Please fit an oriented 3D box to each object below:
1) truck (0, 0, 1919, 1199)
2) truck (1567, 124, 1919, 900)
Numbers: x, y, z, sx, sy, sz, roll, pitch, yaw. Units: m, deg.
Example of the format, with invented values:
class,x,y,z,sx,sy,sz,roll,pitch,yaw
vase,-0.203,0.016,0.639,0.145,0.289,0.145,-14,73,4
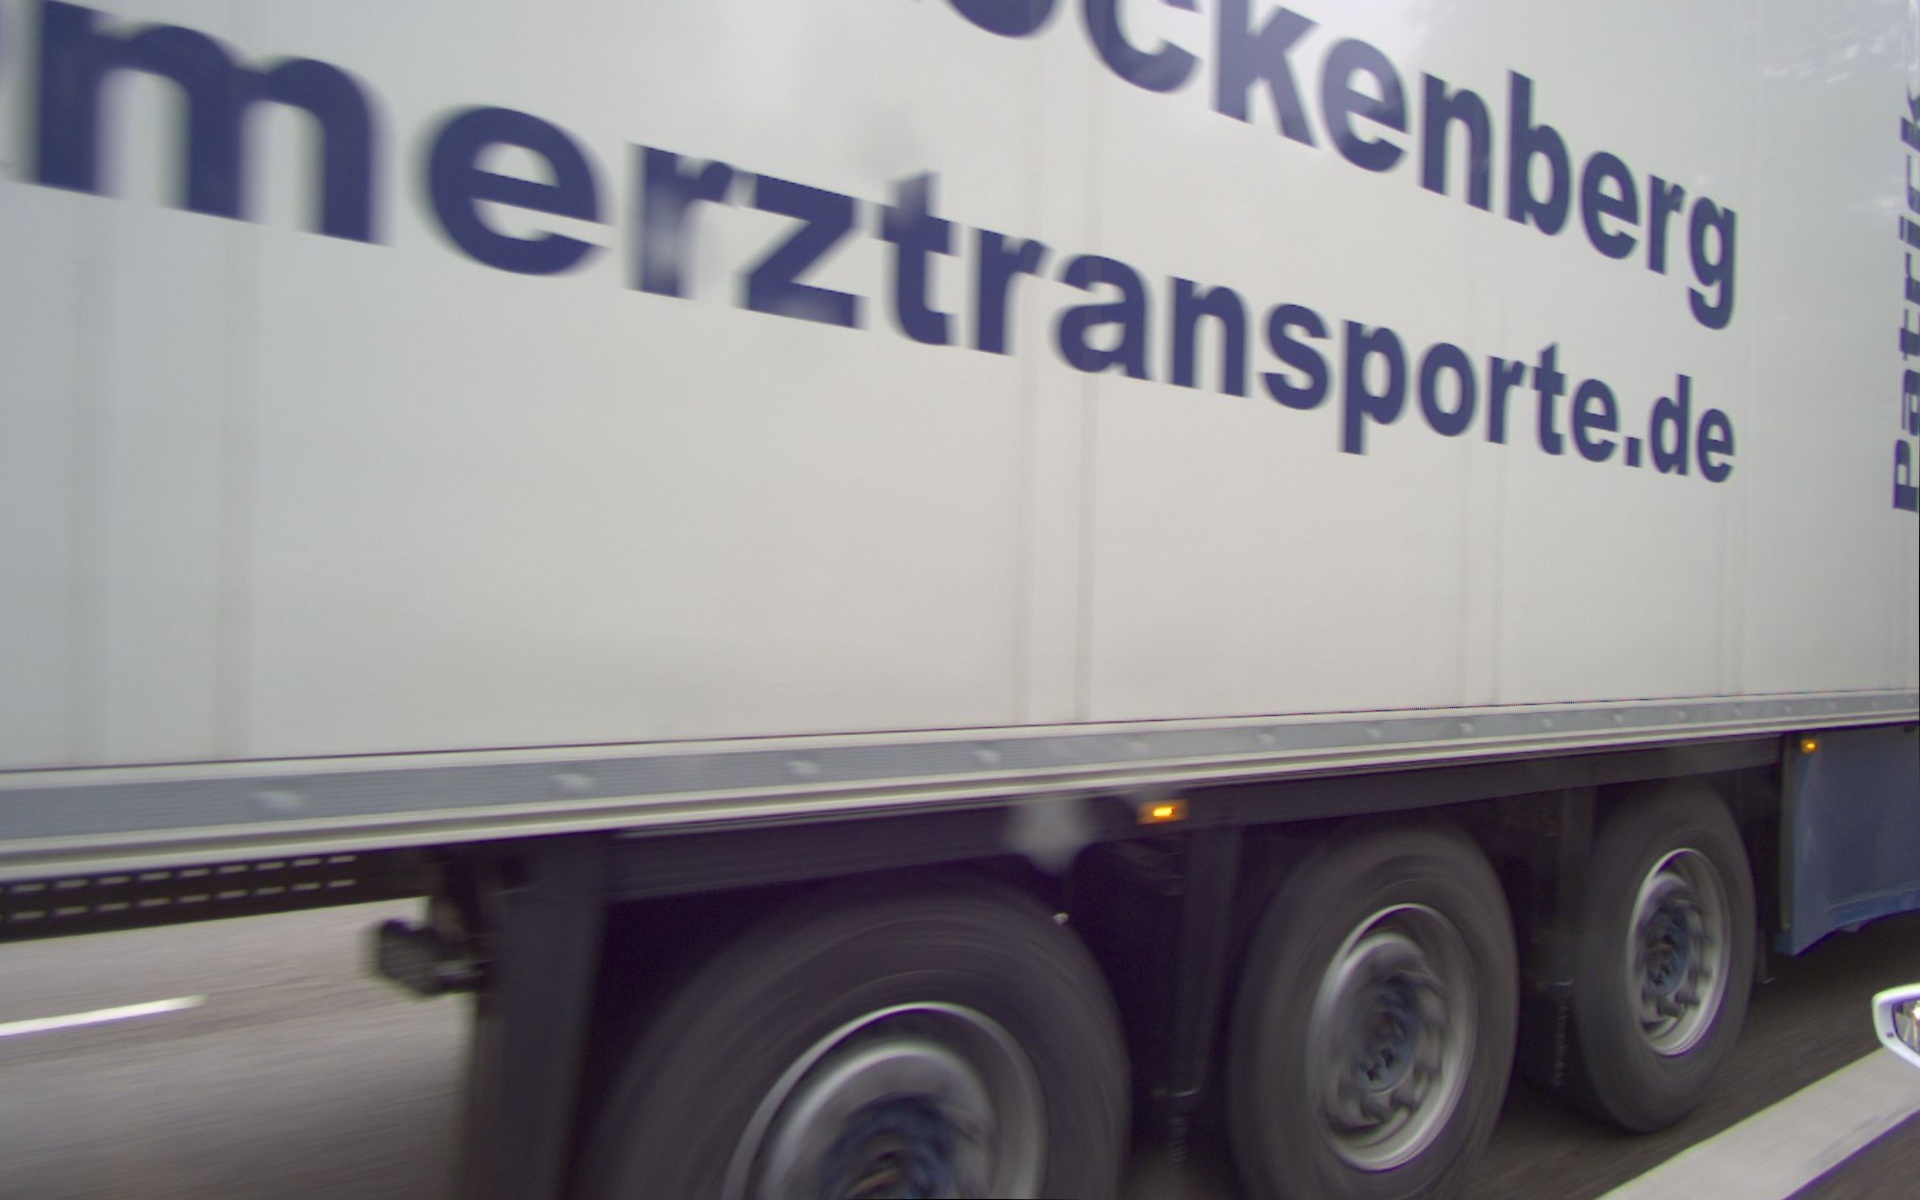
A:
class,x,y,z,sx,sy,sz,roll,pitch,yaw
truck,1.864,-0.676,4.058,12.881,4.253,2.748,1,-1,-31
truck,7.868,-0.432,7.682,6.706,4.253,2.748,1,-1,-31
